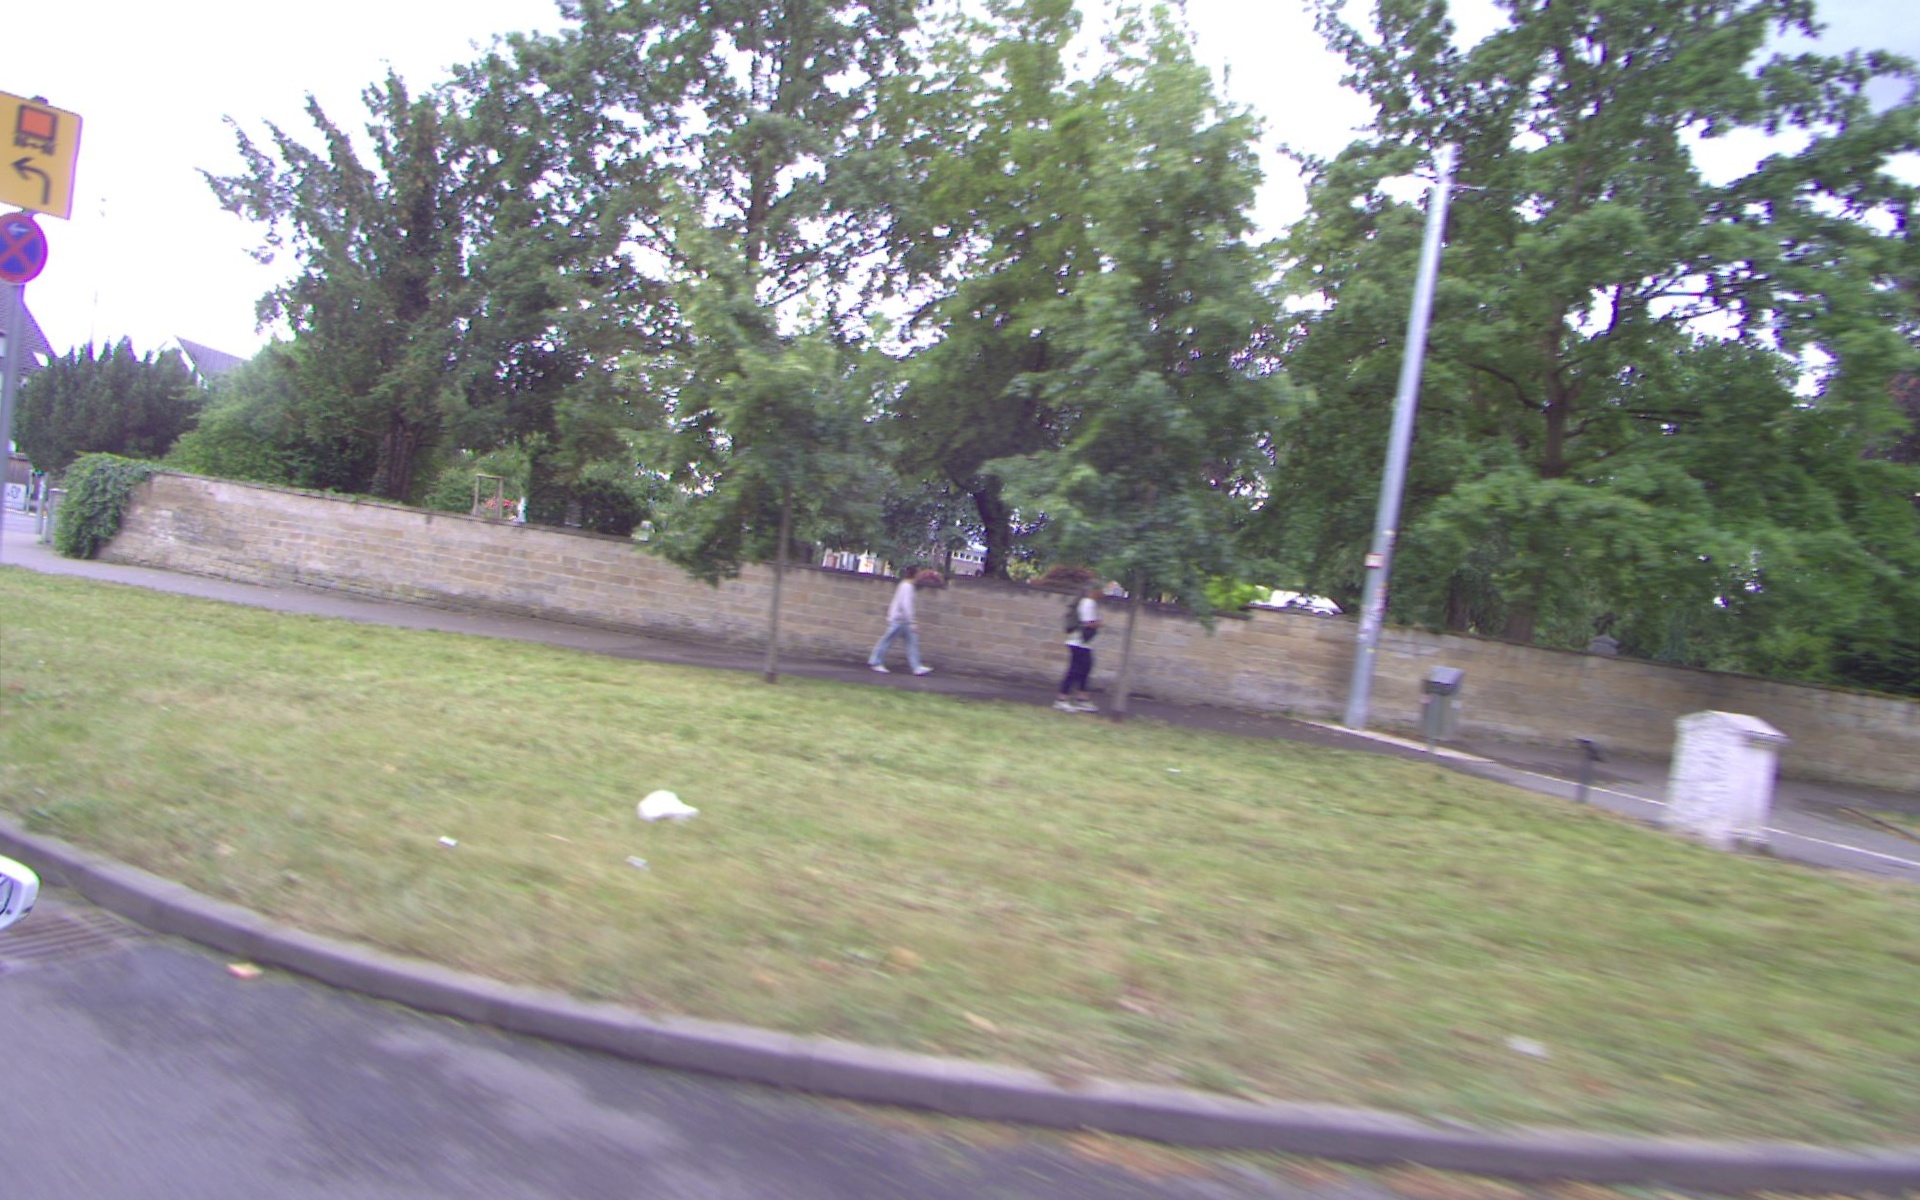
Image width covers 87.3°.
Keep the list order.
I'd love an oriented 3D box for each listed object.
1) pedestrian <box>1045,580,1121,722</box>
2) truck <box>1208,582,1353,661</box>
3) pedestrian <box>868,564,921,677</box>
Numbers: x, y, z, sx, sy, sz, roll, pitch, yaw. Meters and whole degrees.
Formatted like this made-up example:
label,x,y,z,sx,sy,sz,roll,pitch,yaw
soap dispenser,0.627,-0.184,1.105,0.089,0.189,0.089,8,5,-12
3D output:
label,x,y,z,sx,sy,sz,roll,pitch,yaw
pedestrian,1.606,0.655,13.247,0.649,1.756,0.711,8,1,-4
truck,14.653,0.961,46.219,5.680,2.867,2.216,6,-2,38
pedestrian,-0.983,0.291,15.153,0.564,1.606,0.580,7,4,1
